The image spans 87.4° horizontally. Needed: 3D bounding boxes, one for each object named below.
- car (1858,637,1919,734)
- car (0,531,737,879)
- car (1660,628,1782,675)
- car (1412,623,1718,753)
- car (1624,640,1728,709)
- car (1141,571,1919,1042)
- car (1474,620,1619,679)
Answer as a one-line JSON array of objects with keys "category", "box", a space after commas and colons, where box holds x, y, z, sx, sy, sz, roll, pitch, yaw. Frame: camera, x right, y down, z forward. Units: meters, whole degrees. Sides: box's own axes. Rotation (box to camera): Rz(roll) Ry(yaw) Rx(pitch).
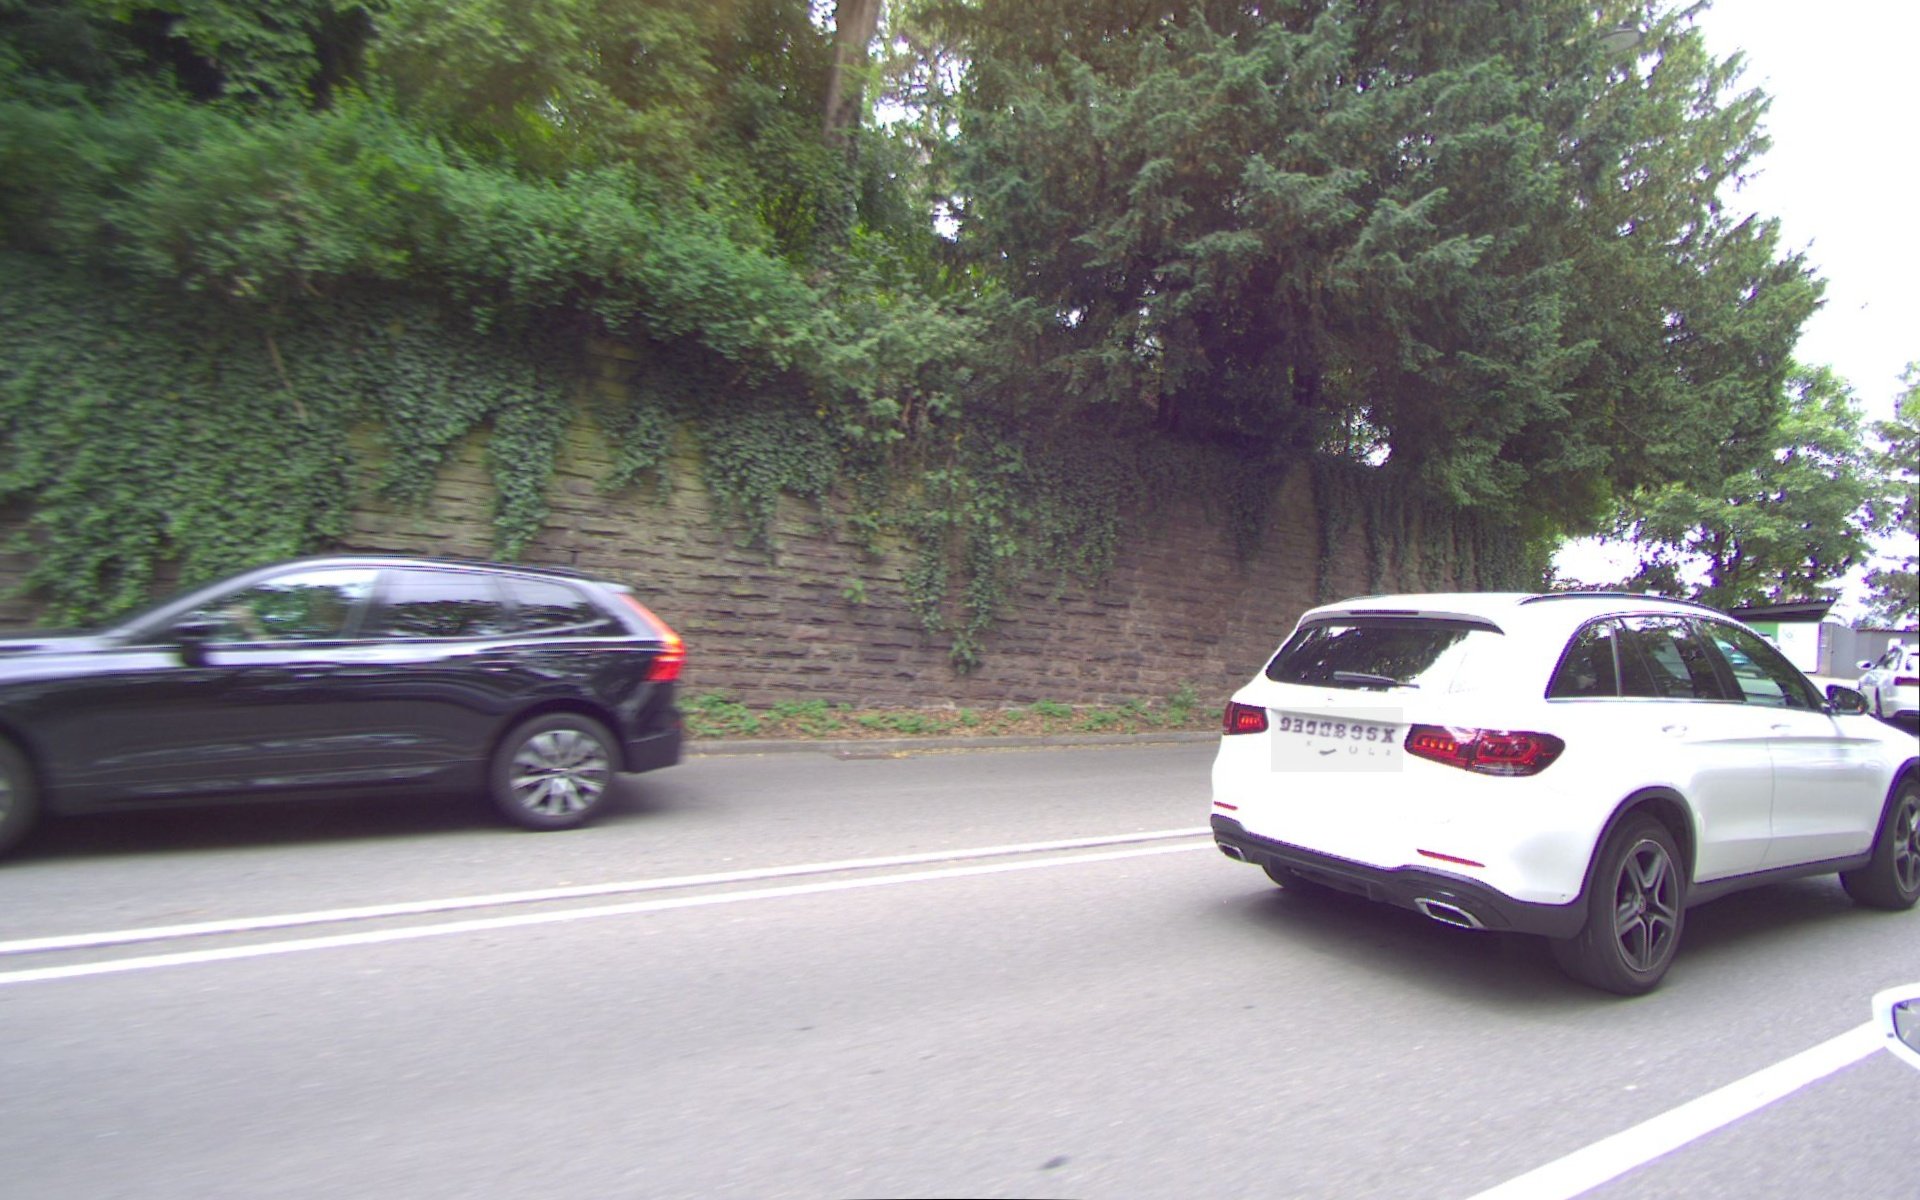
[{"category": "car", "box": [17.210, 1.450, 17.758, 1.843, 1.554, 4.754, 0, -2, 40]}, {"category": "car", "box": [-3.890, 0.545, 6.347, 4.461, 1.671, 1.839, 3, 0, -32]}, {"category": "car", "box": [26.386, 1.748, 34.976, 1.600, 1.438, 3.857, 1, 0, 6]}, {"category": "car", "box": [8.866, 1.215, 14.635, 4.576, 1.618, 1.853, 2, -2, -30]}, {"category": "car", "box": [15.894, 1.601, 22.450, 1.747, 1.357, 3.949, 0, -2, 34]}, {"category": "car", "box": [3.372, 0.804, 5.472, 4.617, 1.627, 1.849, 3, -1, -31]}, {"category": "car", "box": [18.785, 1.533, 32.427, 1.742, 1.675, 4.381, 1, 0, -7]}]
